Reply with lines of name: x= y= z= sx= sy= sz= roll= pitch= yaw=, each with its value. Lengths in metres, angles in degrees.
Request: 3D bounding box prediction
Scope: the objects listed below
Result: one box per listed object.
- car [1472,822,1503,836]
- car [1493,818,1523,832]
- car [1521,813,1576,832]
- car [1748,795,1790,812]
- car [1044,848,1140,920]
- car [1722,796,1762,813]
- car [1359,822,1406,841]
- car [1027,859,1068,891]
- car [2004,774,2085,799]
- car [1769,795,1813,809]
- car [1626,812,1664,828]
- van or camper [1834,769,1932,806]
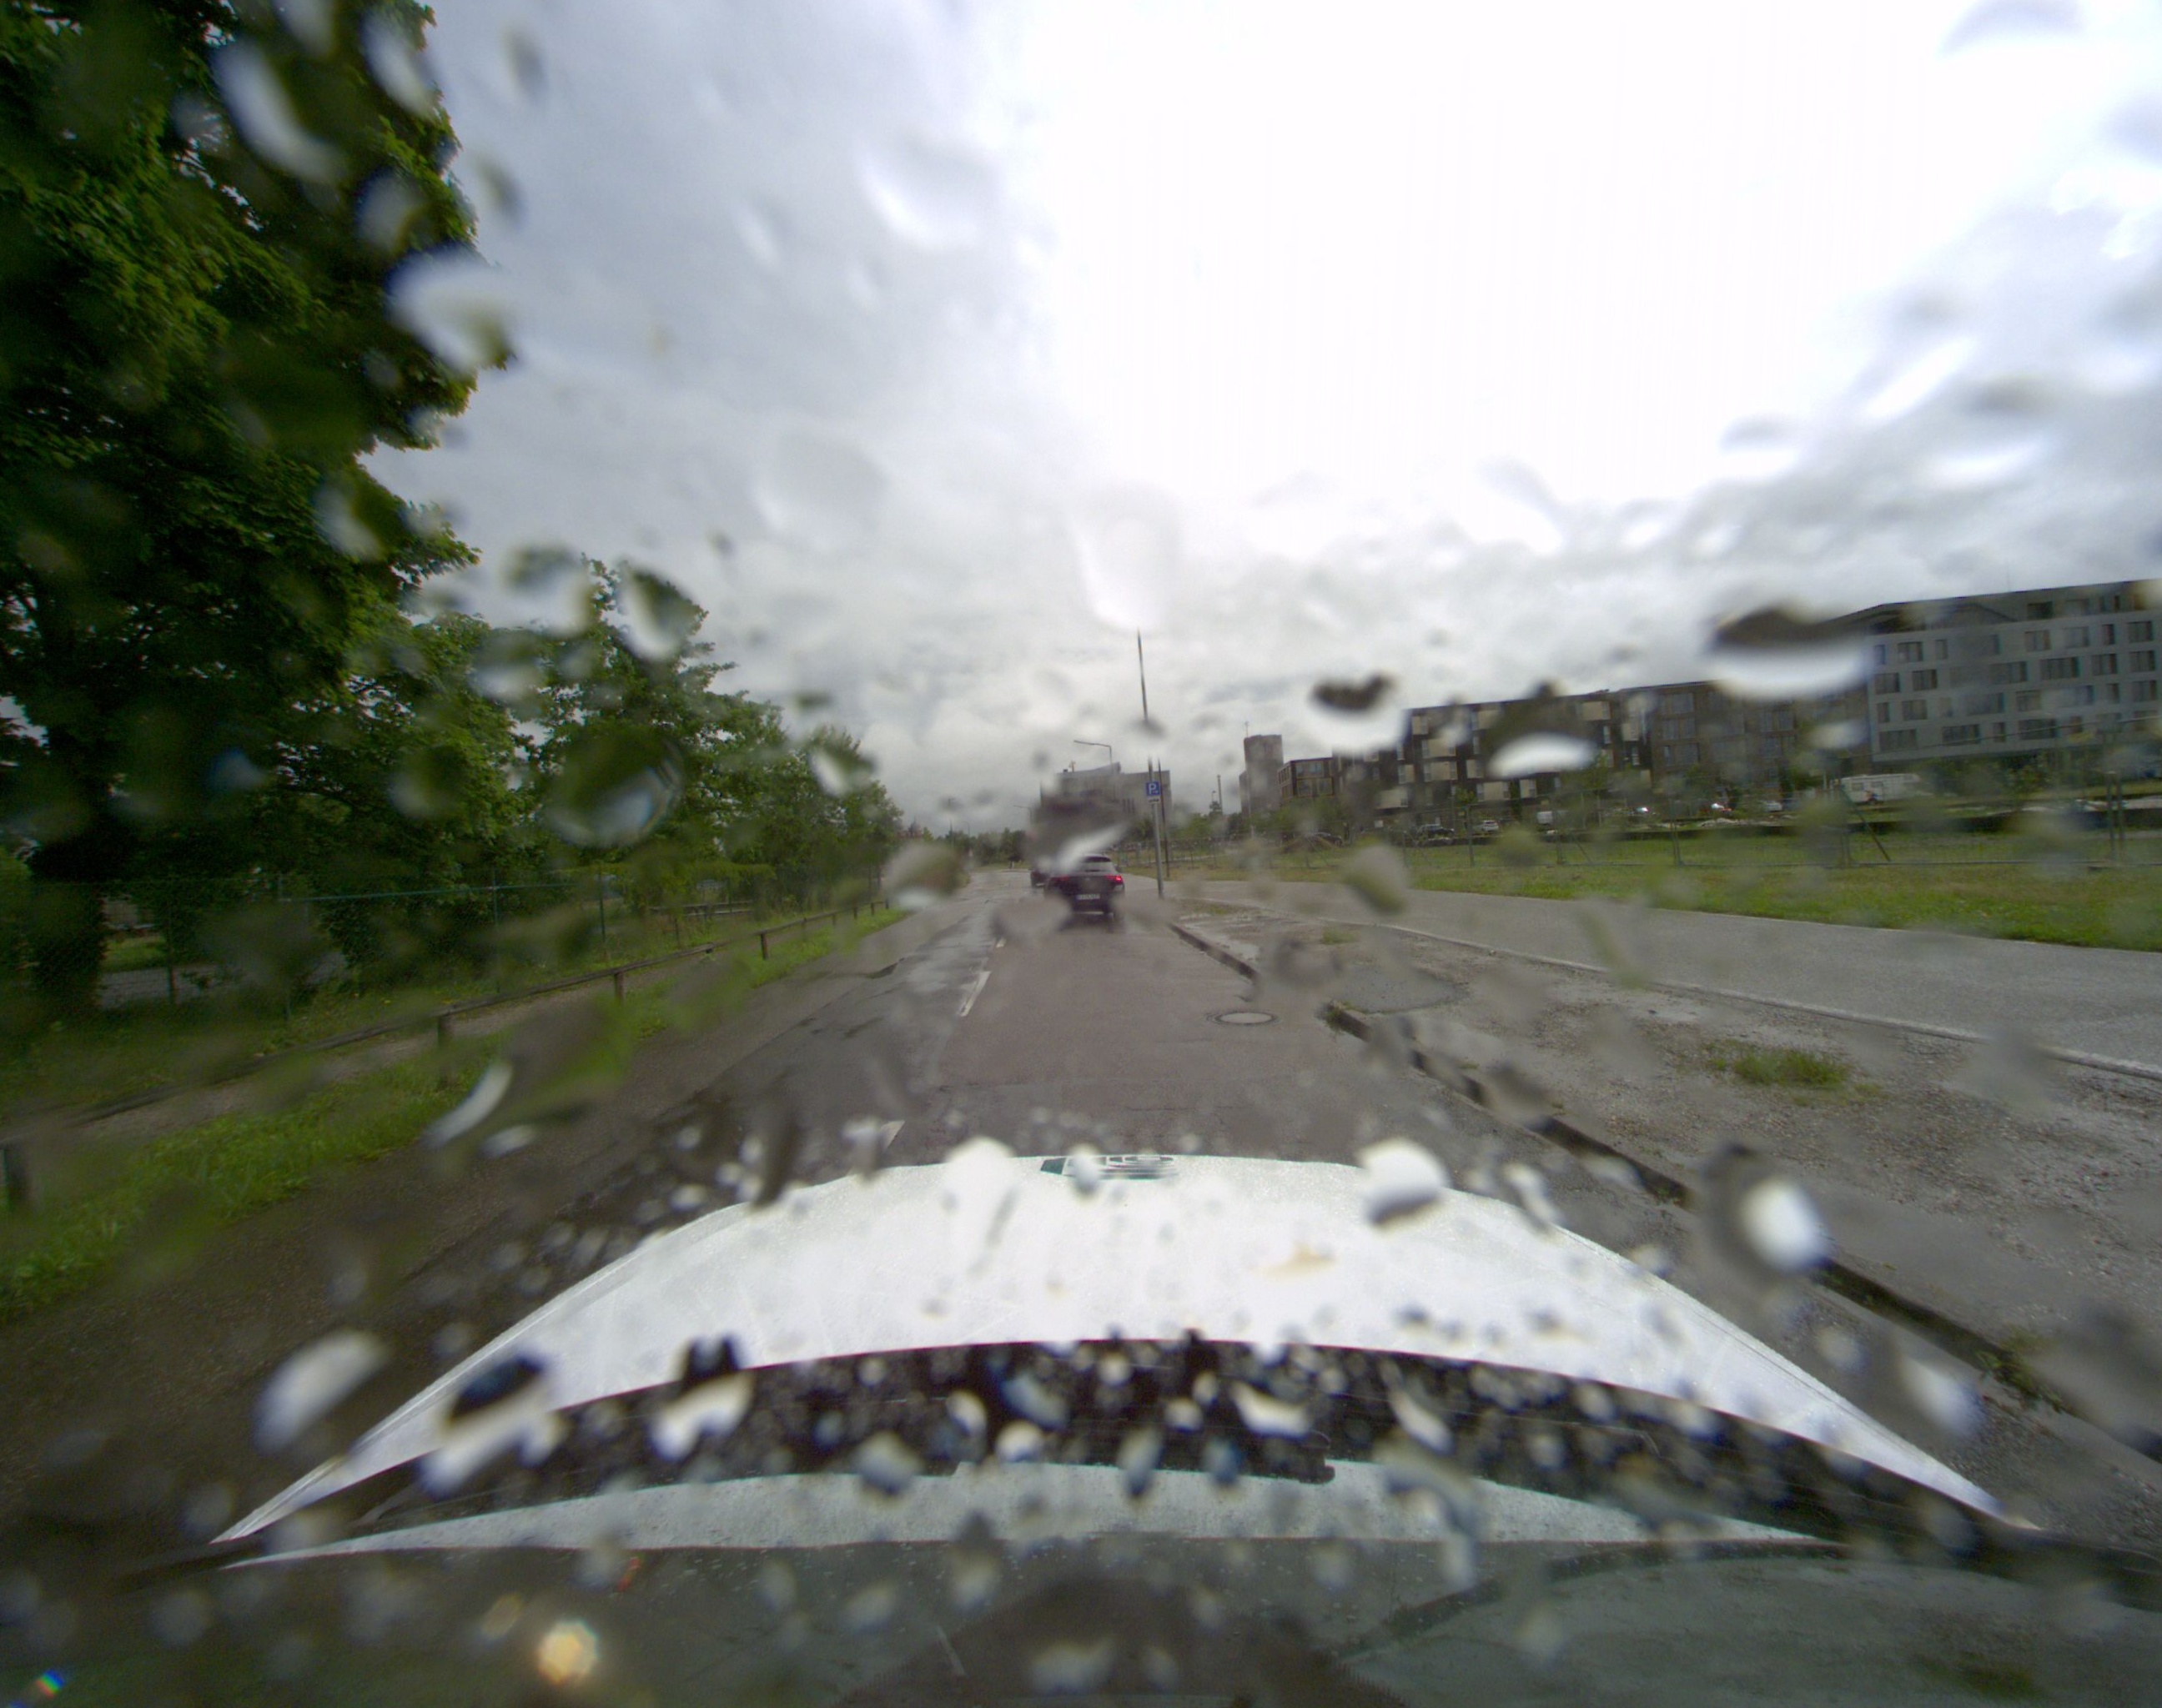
car: x=45.860 y=-2.821 z=91.978 sx=1.755 sy=1.395 sz=3.812 roll=-1 pitch=0 yaw=4
car: x=48.177 y=-3.265 z=91.934 sx=1.630 sy=1.396 sz=3.786 roll=-2 pitch=-1 yaw=5
car: x=46.913 y=-3.141 z=81.791 sx=4.302 sy=1.772 sz=2.003 roll=1 pitch=0 yaw=5
car: x=75.577 y=-5.485 z=89.565 sx=1.537 sy=1.615 sz=3.846 roll=-1 pitch=0 yaw=4
car: x=0.153 y=0.637 z=19.793 sx=1.983 sy=1.520 sz=3.994 roll=-1 pitch=0 yaw=-4
car: x=72.753 y=-5.419 z=89.693 sx=1.537 sy=1.615 sz=3.846 roll=-1 pitch=0 yaw=4
car: x=30.495 y=-2.268 z=82.453 sx=3.973 sy=1.728 sz=2.000 roll=-1 pitch=0 yaw=0
car: x=-1.883 y=1.103 z=44.953 sx=1.839 sy=1.442 sz=3.991 roll=-7 pitch=1 yaw=-6
car: x=89.705 y=-6.276 z=75.906 sx=4.769 sy=2.013 sz=2.005 roll=-1 pitch=0 yaw=8
car: x=78.092 y=-5.729 z=89.612 sx=1.540 sy=1.296 sz=3.908 roll=-1 pitch=0 yaw=4
car: x=62.629 y=-3.747 z=90.539 sx=1.772 sy=1.615 sz=3.846 roll=-1 pitch=0 yaw=4
van or camper: x=77.802 y=-6.456 z=79.105 sx=6.746 sy=3.201 sz=2.533 roll=-1 pitch=0 yaw=4
